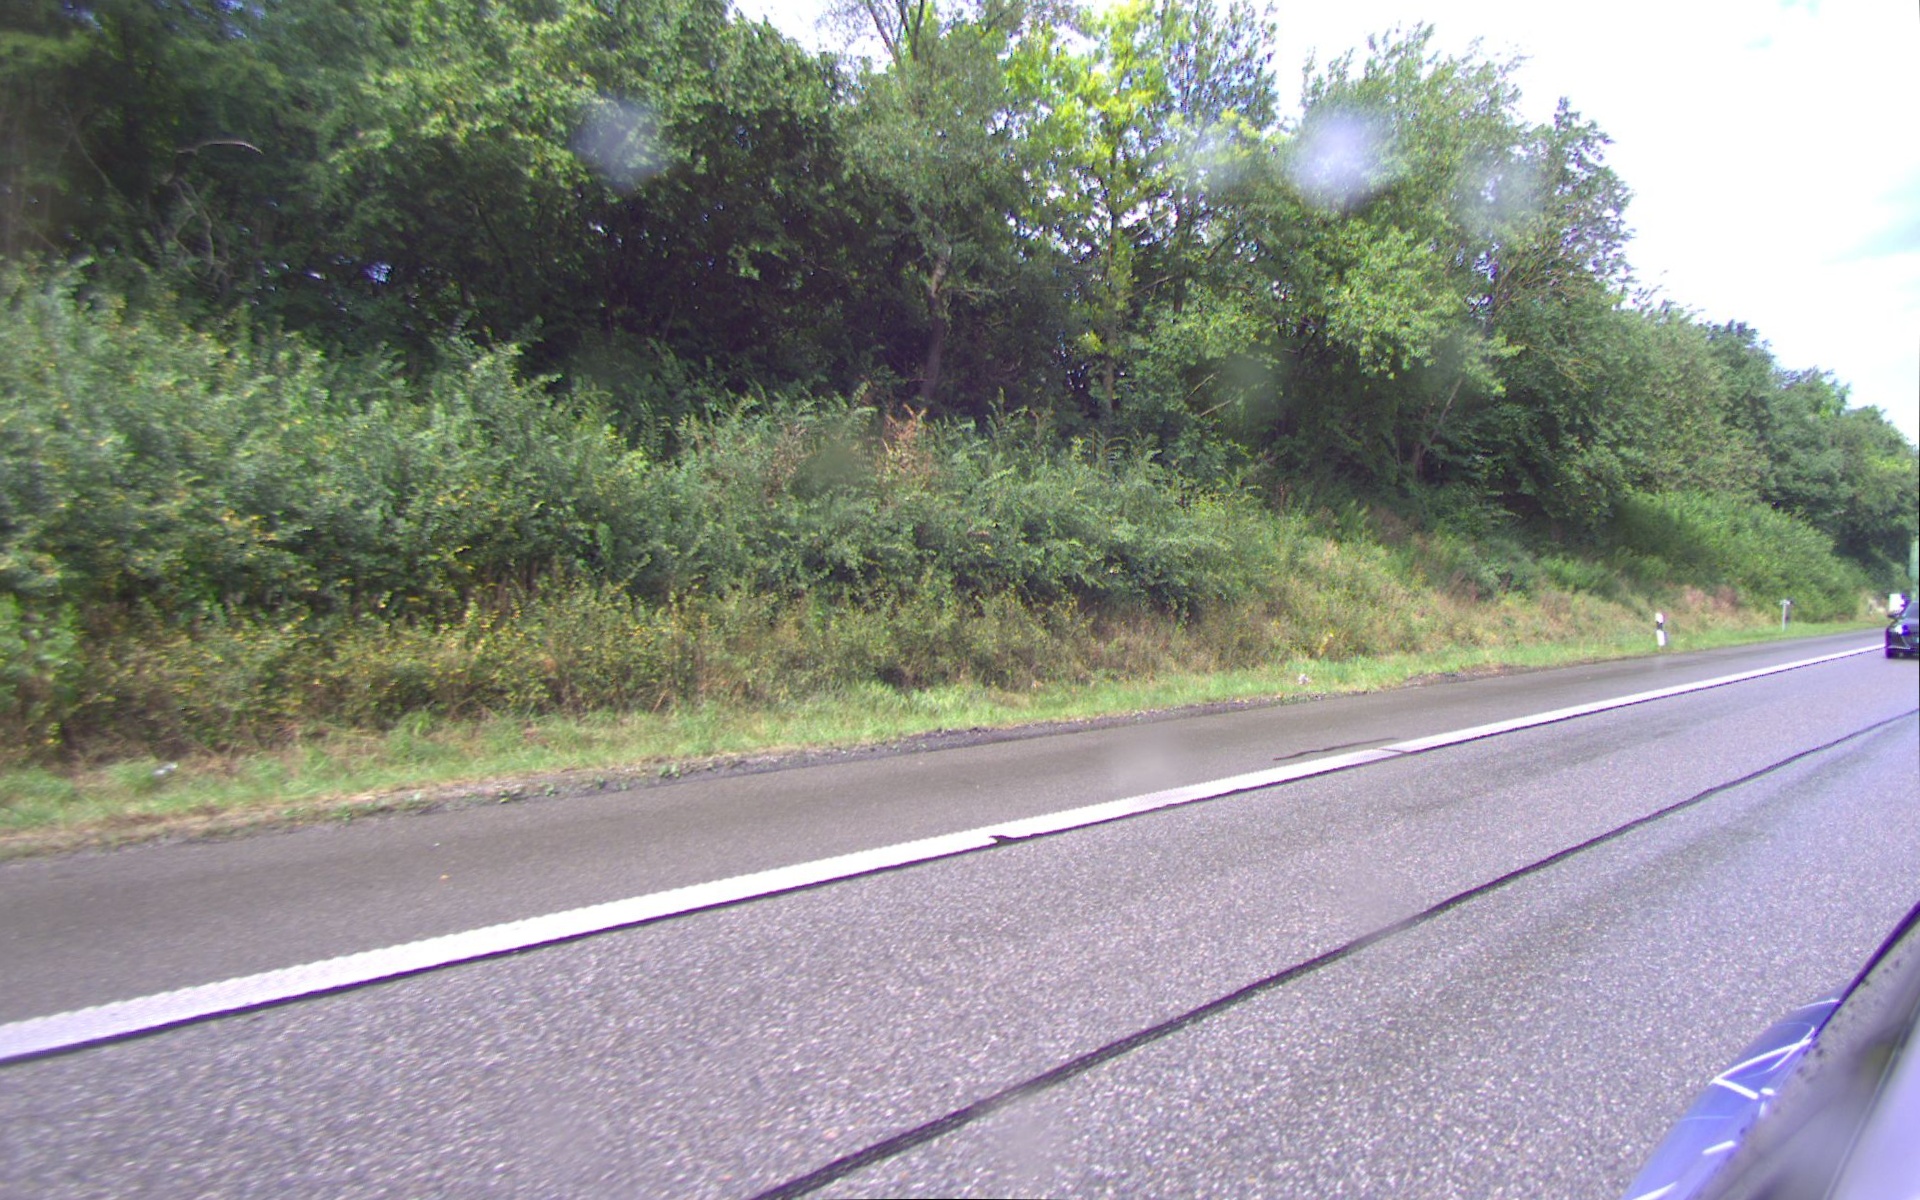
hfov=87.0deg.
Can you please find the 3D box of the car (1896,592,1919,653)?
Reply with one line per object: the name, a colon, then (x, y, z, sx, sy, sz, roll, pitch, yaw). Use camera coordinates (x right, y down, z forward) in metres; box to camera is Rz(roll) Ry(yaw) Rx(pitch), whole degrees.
car: (24.261, 0.528, 24.637, 4.293, 1.414, 1.758, 0, 1, -42)
